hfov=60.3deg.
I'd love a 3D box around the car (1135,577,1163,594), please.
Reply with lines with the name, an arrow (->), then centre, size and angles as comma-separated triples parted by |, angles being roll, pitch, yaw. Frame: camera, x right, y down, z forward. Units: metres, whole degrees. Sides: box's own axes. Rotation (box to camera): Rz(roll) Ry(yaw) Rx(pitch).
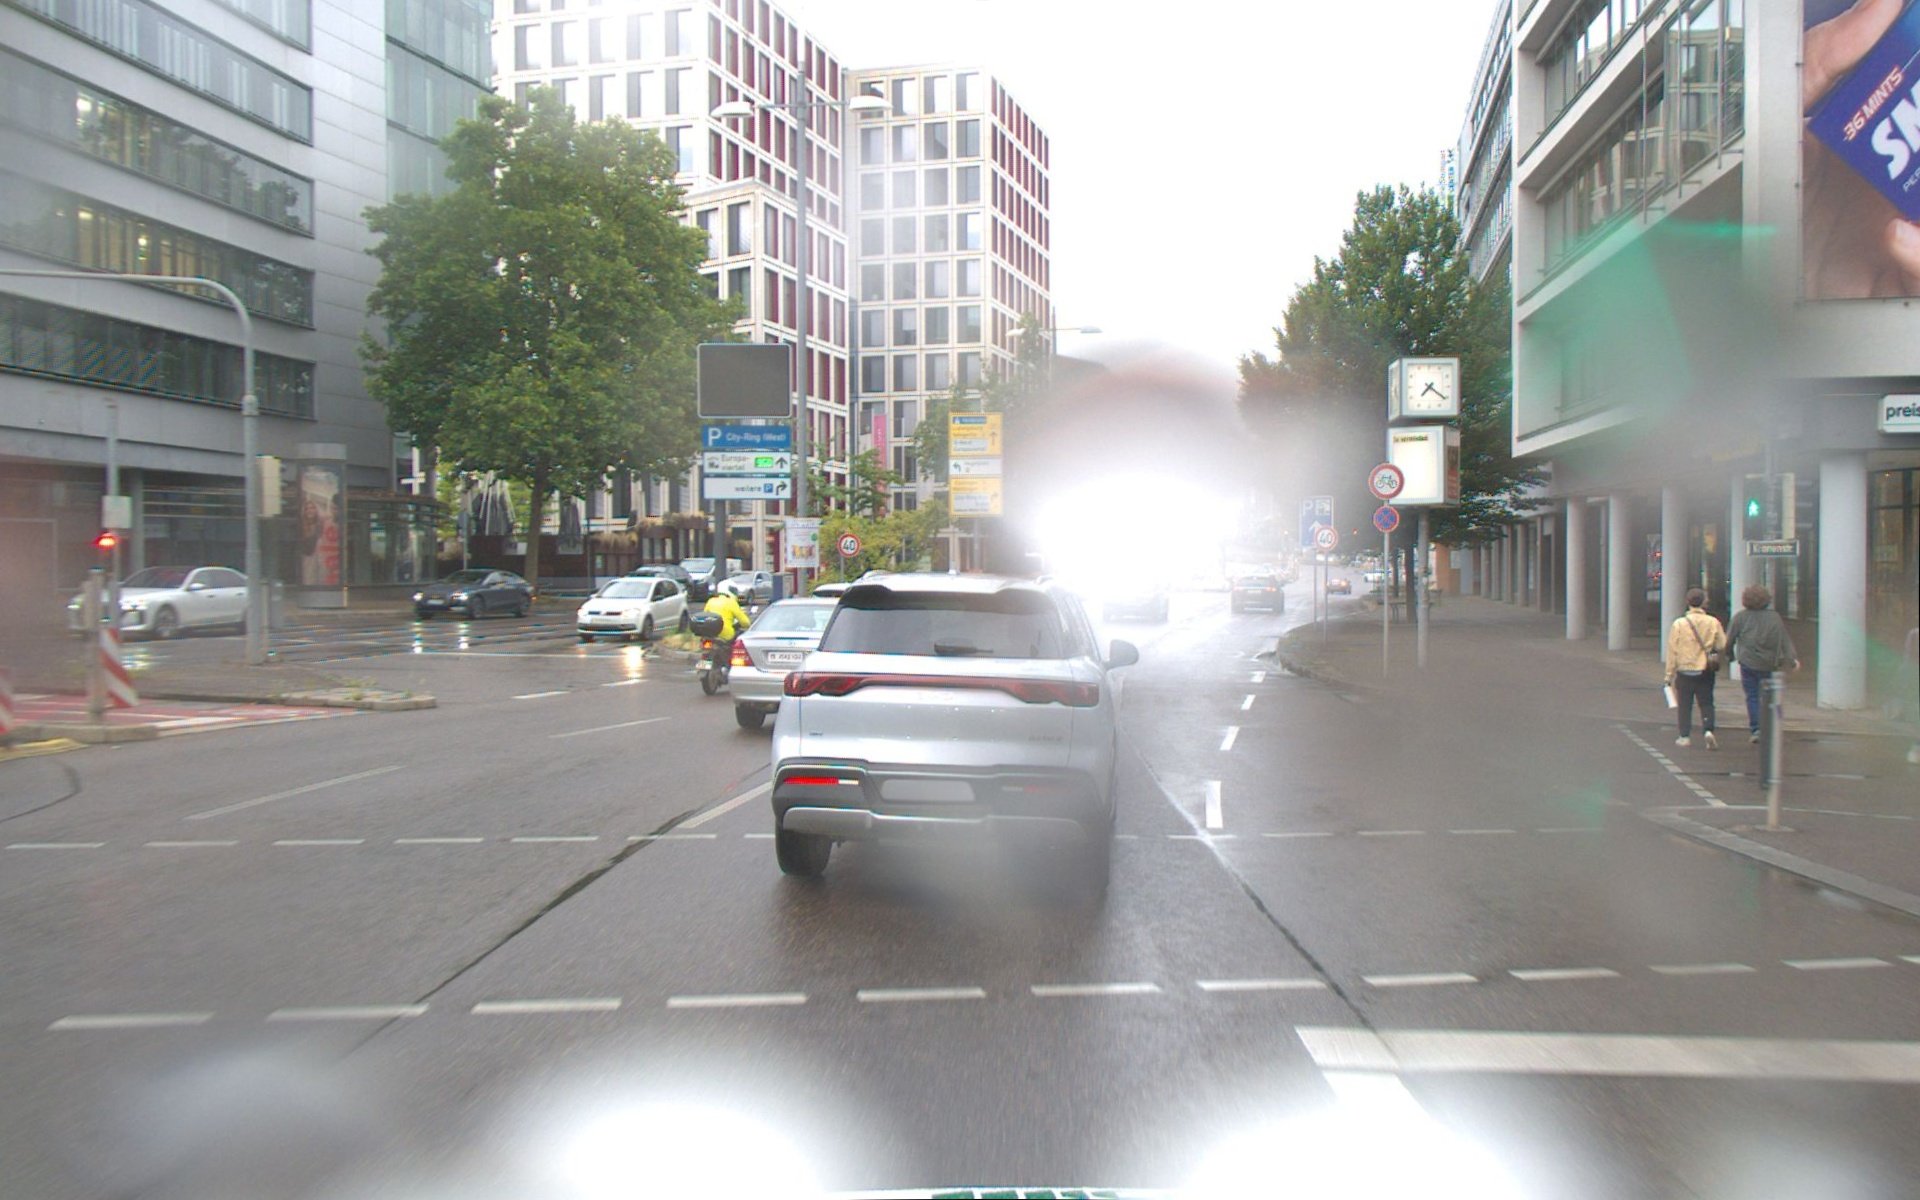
car -> 17.194, -1.358, 150.477 | 1.951, 1.512, 4.003 | 1, 1, 15

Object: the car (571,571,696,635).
car -> -7.806, 0.035, 39.872 | 1.596, 1.462, 3.911 | 0, 1, 11

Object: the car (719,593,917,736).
car -> -1.503, 0.683, 18.944 | 1.537, 1.432, 4.111 | 1, -1, 5

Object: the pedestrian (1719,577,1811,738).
pedestrian -> 9.384, 0.650, 19.303 | 0.732, 1.829, 0.817 | 0, 1, 7

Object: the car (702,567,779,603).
car -> -9.526, -0.670, 72.056 | 1.951, 1.514, 4.003 | 1, 1, 15

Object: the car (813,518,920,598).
car -> -2.583, -1.138, 47.028 | 1.951, 2.049, 4.852 | 1, -1, 10

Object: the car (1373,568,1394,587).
car -> 48.866, -2.636, 190.909 | 1.951, 2.049, 4.003 | 1, -1, 7

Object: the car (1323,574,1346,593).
car -> 32.345, -1.431, 142.695 | 1.658, 1.512, 4.002 | 1, -1, 17

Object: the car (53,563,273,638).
car -> -17.683, -0.028, 37.031 | 1.775, 1.536, 5.201 | 0, 1, 9

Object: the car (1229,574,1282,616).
car -> 11.546, -0.166, 64.473 | 1.658, 1.512, 4.002 | 1, -1, 16

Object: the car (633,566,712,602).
car -> -12.593, -0.724, 72.660 | 1.951, 1.514, 4.003 | 1, 1, 15

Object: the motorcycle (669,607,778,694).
motorcycle -> -3.454, 0.726, 24.330 | 0.783, 1.205, 2.029 | 1, -1, 17

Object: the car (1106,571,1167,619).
car -> 5.944, -0.148, 55.410 | 1.537, 1.512, 4.003 | 1, -1, 13

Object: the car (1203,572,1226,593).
car -> 21.907, -1.497, 142.138 | 1.847, 1.672, 4.003 | 1, 0, 10

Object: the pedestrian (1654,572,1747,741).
pedestrian -> 8.228, 0.607, 18.412 | 0.732, 1.829, 0.817 | 0, 1, 7

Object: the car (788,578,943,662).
car -> -1.767, 0.390, 32.279 | 1.671, 1.512, 4.002 | 1, -1, 18

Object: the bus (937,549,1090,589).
bus -> 6.037, -3.473, 185.566 | 16.601, 4.134, 4.441 | 1, -1, 12

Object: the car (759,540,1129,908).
car -> 0.114, 0.607, 9.867 | 1.738, 1.708, 4.002 | 1, -1, 6

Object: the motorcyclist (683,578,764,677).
motorcyclist -> -3.460, 0.403, 24.275 | 0.754, 1.404, 1.119 | 1, -1, 17

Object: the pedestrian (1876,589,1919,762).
pedestrian -> 9.500, 0.744, 16.452 | 0.656, 1.684, 0.652 | 1, 0, 30

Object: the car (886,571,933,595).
car -> -3.244, -1.097, 106.267 | 1.951, 1.514, 4.003 | 1, 1, 15

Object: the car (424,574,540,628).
car -> -14.828, -0.015, 51.564 | 1.596, 1.586, 4.597 | 0, 1, 11
